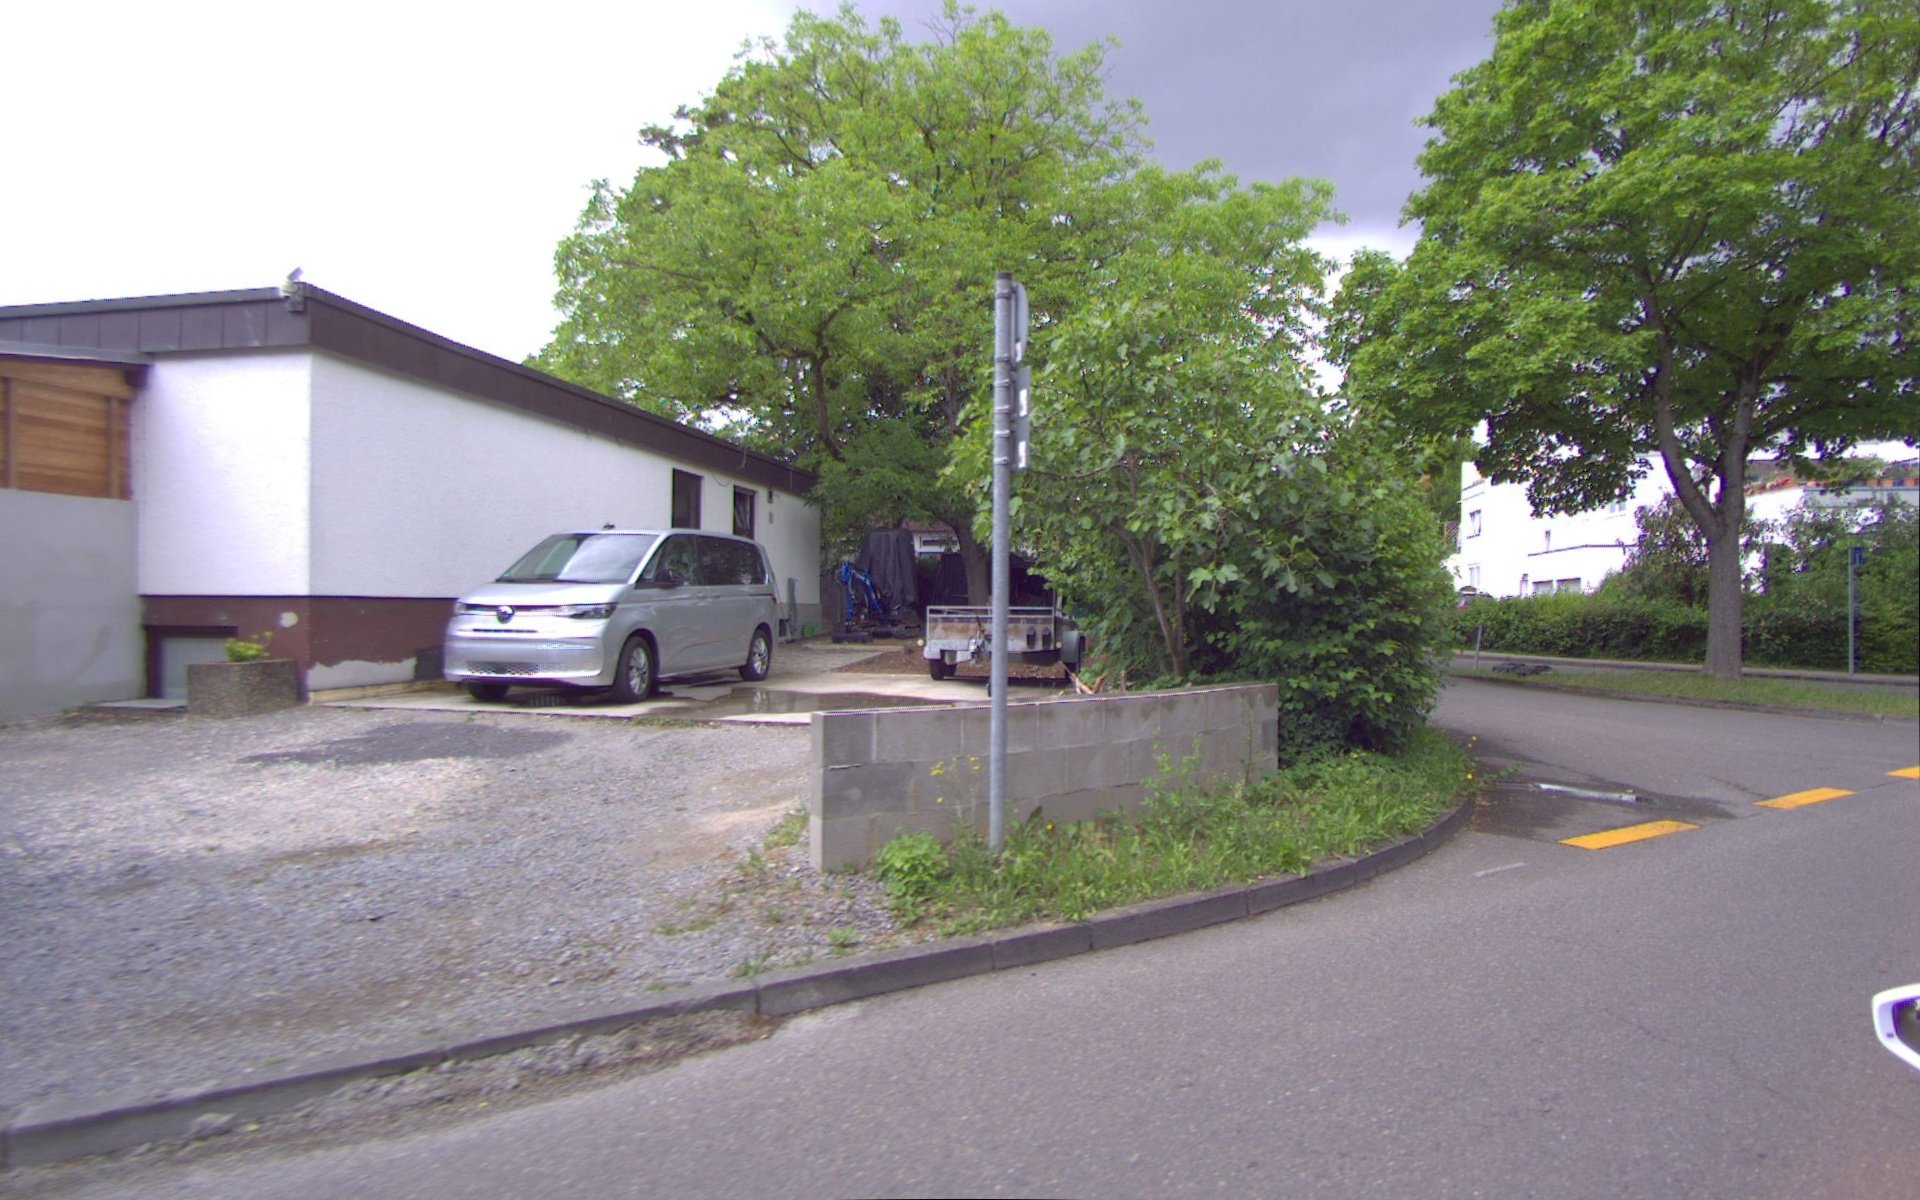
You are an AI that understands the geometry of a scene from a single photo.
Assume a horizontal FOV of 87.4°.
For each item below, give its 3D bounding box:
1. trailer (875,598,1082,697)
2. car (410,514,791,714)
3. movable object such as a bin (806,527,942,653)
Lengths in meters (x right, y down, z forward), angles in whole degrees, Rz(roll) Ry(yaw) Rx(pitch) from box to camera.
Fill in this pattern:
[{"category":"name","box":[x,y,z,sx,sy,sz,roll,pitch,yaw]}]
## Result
[{"category":"trailer","box":[0.419,0.530,13.297,1.959,1.061,4.002,1,0,13]},{"category":"car","box":[-3.792,0.075,11.768,1.989,1.829,4.931,1,1,10]},{"category":"movable object such as a bin","box":[-1.641,-0.234,20.029,1.959,2.312,2.784,1,2,12]}]
